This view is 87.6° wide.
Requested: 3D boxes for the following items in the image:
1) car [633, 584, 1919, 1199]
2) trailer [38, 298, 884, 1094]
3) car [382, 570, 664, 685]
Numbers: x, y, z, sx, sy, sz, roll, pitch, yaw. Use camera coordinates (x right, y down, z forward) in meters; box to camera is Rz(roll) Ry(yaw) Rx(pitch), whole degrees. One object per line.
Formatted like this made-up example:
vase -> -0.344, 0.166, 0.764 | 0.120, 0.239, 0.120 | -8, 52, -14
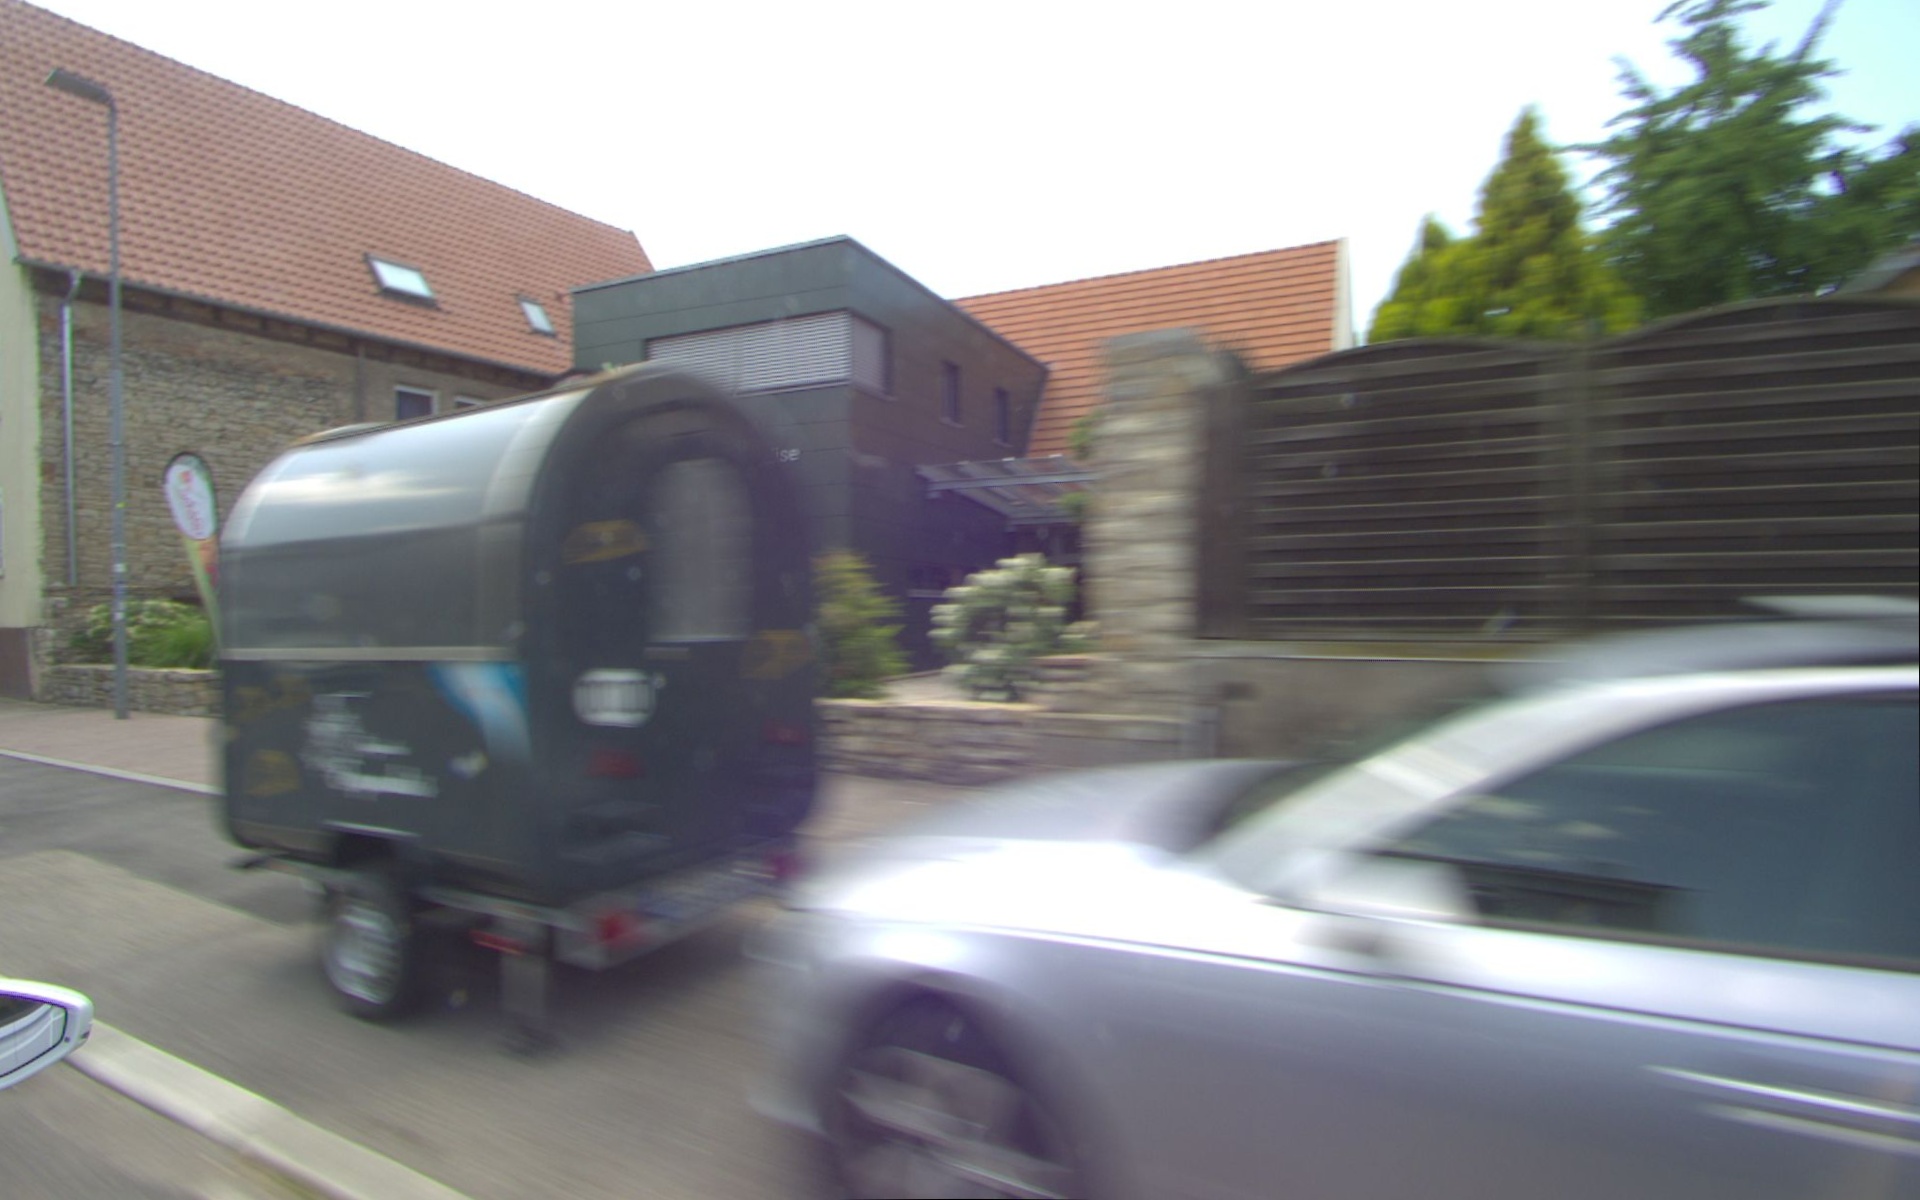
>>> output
car -> 1.654, 0.726, 2.133 | 4.604, 1.501, 1.873 | -1, 0, 30
trailer -> -2.341, 0.304, 4.668 | 3.534, 2.385, 1.842 | 0, 1, 29
car -> -8.435, 0.489, 19.912 | 1.969, 1.976, 5.048 | 0, 0, 27
